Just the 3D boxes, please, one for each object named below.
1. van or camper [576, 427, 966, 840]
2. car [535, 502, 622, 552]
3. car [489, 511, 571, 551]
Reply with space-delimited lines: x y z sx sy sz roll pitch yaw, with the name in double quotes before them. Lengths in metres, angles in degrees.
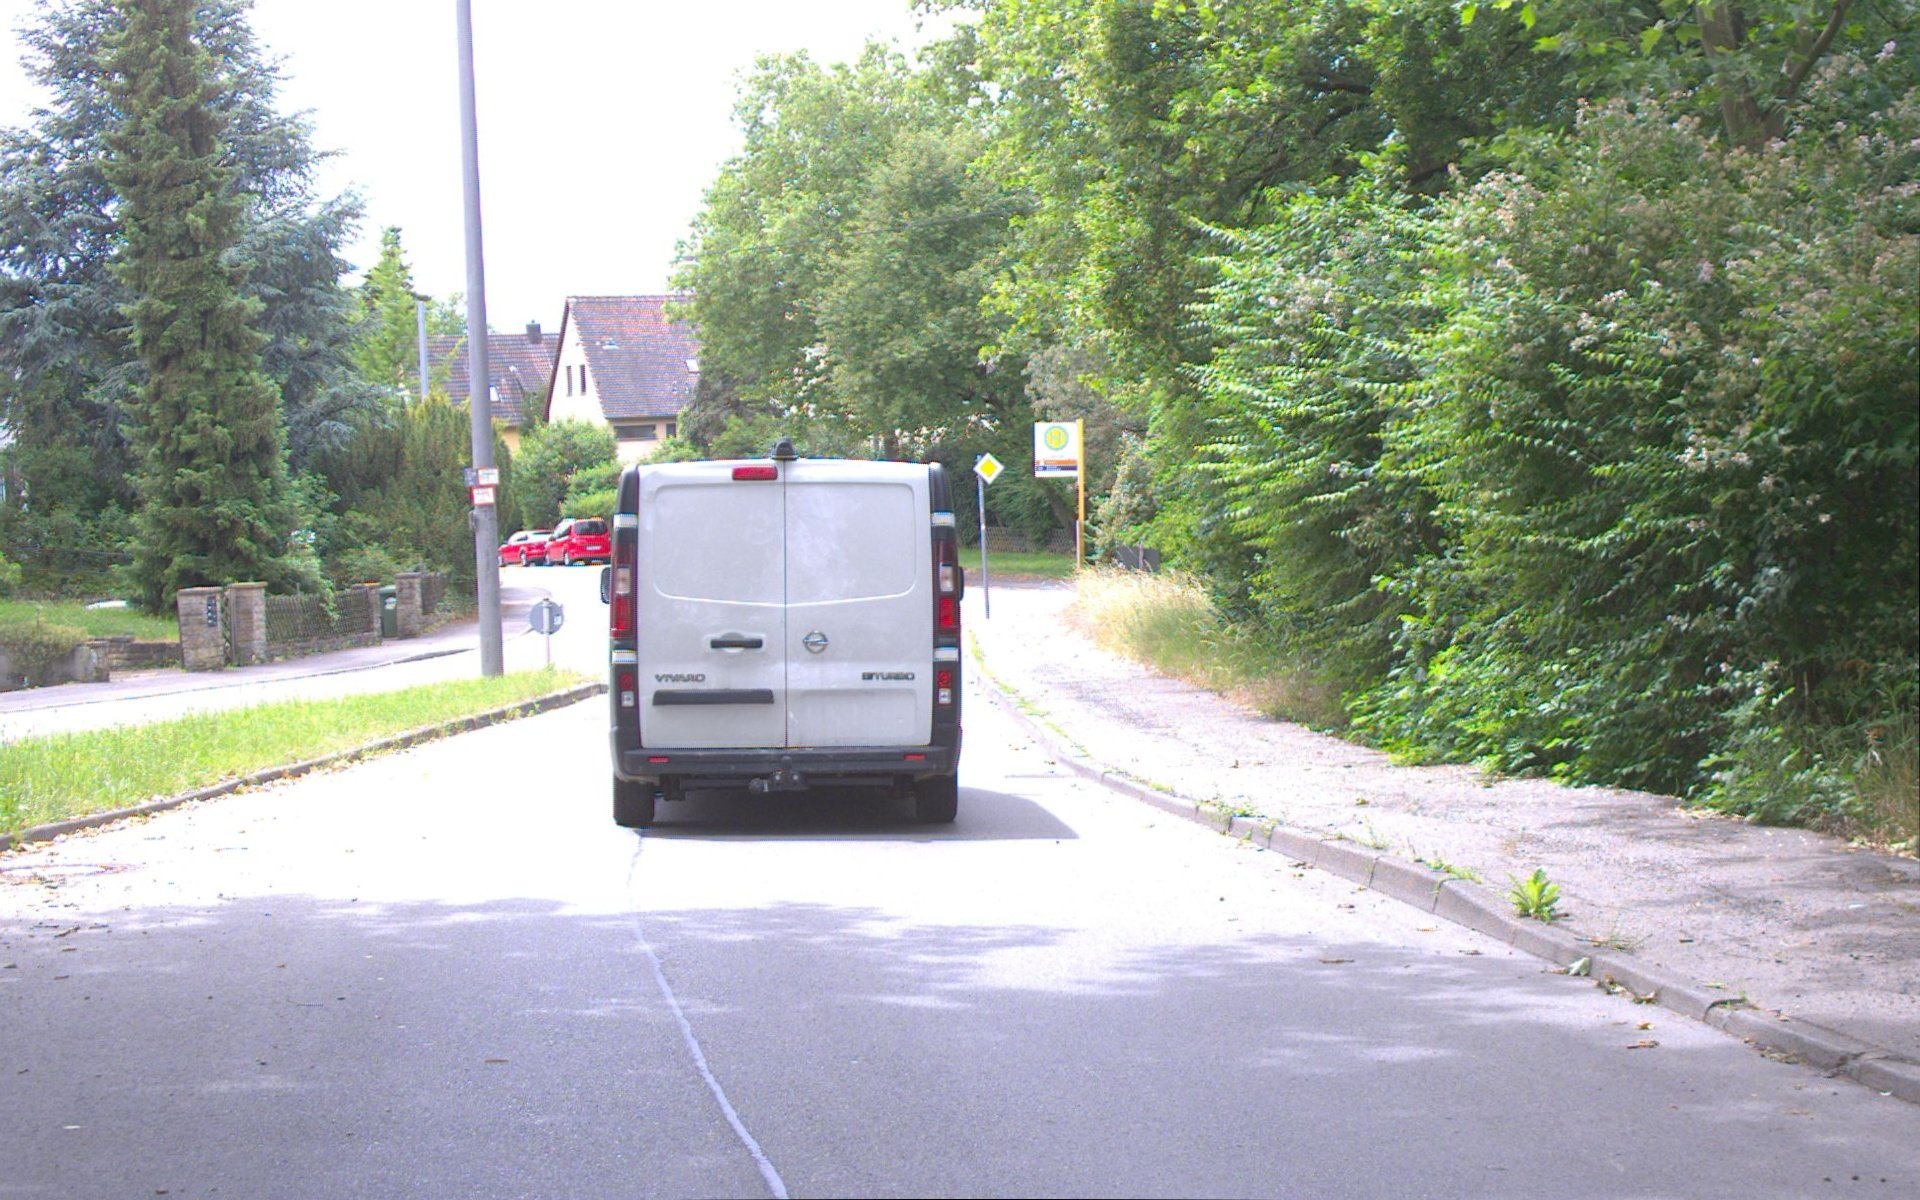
"van or camper" -1.075 0.048 19.819 1.924 2.006 4.830 -1 3 -3
"car" -14.492 -2.761 130.376 1.760 1.791 4.950 -3 2 -25
"car" -16.894 -2.703 134.967 1.712 1.462 4.268 -3 2 -28
